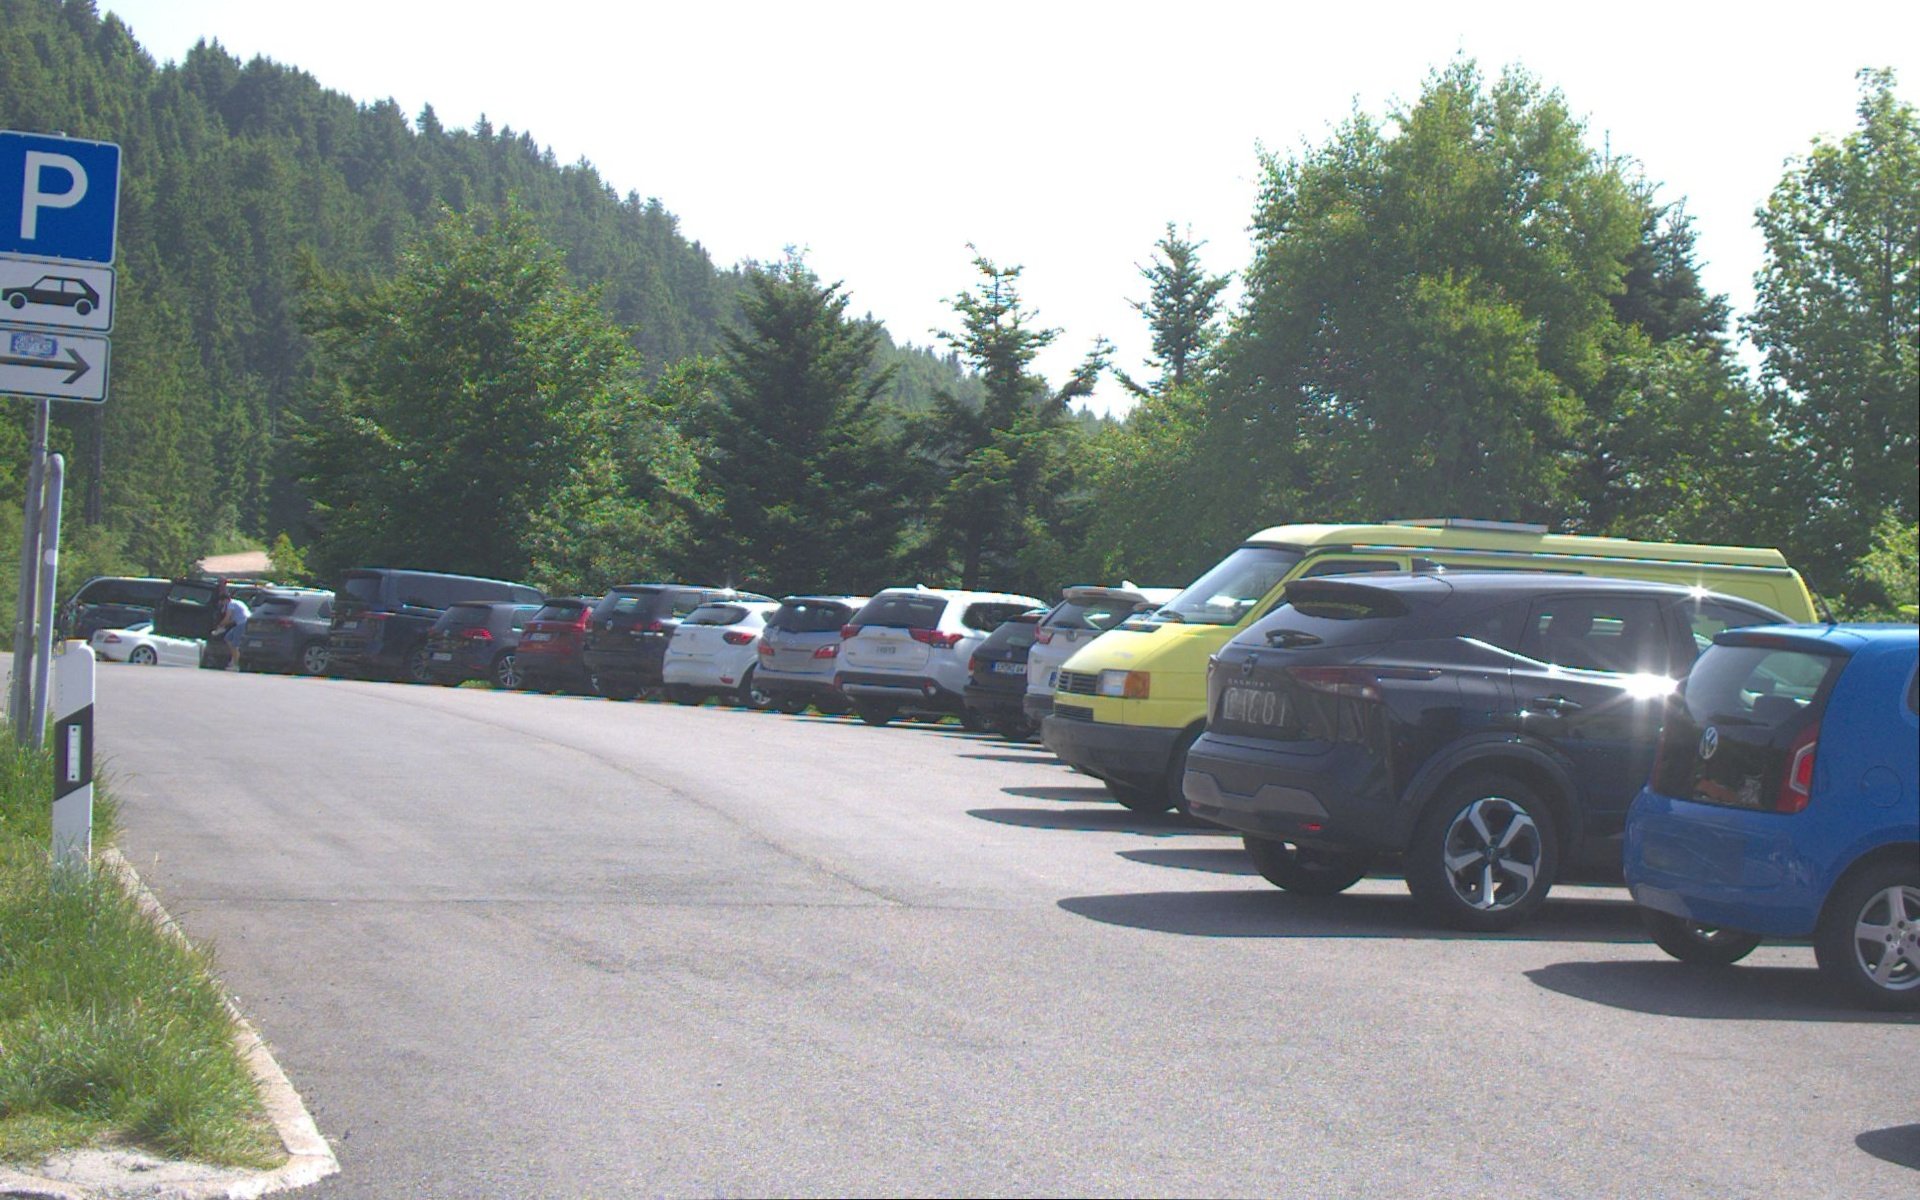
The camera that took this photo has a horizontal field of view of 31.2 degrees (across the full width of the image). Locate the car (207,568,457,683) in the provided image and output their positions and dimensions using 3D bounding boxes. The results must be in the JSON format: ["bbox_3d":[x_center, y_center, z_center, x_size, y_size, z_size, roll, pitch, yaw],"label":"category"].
[{"bbox_3d":[-11.629,0.486,63.823,3.988,1.656,1.999,9,-5,-44],"label":"car"}]

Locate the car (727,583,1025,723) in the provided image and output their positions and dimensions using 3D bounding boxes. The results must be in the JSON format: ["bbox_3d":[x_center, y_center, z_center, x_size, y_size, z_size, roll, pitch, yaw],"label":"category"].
[{"bbox_3d":[-1.064,0.719,45.436,1.818,1.544,3.991,3,-2,35],"label":"car"}]

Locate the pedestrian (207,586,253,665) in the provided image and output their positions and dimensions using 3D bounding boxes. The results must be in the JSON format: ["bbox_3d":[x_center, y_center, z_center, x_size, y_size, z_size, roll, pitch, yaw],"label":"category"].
[{"bbox_3d":[-13.177,0.457,62.031,0.773,1.398,0.669,1,1,-11],"label":"pedestrian"}]

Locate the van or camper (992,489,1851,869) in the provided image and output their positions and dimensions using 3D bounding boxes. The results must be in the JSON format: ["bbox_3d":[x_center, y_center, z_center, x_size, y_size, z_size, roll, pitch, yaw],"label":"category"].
[{"bbox_3d":[2.985,0.510,22.494,5.088,2.007,1.883,5,0,-14],"label":"van or camper"}]

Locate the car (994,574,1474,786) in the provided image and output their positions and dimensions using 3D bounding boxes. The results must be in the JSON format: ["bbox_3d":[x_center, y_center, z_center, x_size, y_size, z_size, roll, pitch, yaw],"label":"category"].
[{"bbox_3d":[2.602,0.764,32.166,4.172,1.644,1.891,5,-2,-37],"label":"car"}]

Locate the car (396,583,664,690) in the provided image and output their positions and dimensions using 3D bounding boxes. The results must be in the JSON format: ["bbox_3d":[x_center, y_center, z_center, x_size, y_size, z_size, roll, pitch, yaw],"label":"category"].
[{"bbox_3d":[-6.944,0.598,55.792,3.989,1.410,1.744,6,-2,-44],"label":"car"}]

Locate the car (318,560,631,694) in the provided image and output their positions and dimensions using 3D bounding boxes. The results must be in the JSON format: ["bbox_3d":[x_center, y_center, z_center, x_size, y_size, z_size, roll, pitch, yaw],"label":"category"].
[{"bbox_3d":[-8.205,0.462,58.265,4.758,1.873,1.966,5,-2,-36],"label":"car"}]

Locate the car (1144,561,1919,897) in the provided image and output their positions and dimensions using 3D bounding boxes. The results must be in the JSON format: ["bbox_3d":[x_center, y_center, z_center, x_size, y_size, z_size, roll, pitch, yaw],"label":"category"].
[{"bbox_3d":[3.300,0.703,19.081,4.149,1.583,1.705,3,0,-14],"label":"car"}]

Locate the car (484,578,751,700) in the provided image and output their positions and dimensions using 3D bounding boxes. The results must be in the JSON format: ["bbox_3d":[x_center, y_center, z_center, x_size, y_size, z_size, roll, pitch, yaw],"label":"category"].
[{"bbox_3d":[-5.279,0.628,53.466,1.861,1.584,3.991,3,-2,35],"label":"car"}]

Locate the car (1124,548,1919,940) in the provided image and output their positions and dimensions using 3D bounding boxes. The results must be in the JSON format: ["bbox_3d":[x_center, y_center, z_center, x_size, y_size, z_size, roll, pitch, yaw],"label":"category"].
[{"bbox_3d":[3.036,0.682,16.349,3.986,1.608,1.917,3,0,-22],"label":"car"}]

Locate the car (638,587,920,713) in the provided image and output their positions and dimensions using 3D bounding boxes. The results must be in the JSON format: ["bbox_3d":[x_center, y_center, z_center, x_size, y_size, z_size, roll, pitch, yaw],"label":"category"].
[{"bbox_3d":[-2.497,0.718,48.251,1.766,1.471,3.991,3,-2,35],"label":"car"}]

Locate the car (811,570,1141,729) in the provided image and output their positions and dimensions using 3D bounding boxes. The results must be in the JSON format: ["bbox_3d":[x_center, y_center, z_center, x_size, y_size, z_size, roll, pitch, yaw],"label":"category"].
[{"bbox_3d":[0.254,0.637,42.184,1.861,1.689,4.218,3,-1,35],"label":"car"}]

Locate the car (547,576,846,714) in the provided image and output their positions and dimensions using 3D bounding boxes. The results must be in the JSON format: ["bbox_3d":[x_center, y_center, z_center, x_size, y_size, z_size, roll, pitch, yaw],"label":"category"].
[{"bbox_3d":[-3.799,0.675,50.292,1.988,1.689,4.264,3,-2,35],"label":"car"}]

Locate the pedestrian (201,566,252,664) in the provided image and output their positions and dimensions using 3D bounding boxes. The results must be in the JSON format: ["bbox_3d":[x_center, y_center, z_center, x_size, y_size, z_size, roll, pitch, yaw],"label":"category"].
[{"bbox_3d":[-13.672,0.284,64.065,0.579,1.755,0.633,4,-2,10],"label":"pedestrian"}]

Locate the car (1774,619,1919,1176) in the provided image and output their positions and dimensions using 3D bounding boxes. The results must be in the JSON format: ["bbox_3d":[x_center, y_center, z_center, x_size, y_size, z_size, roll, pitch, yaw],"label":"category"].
[{"bbox_3d":[4.604,0.961,10.043,3.986,1.504,1.843,4,0,-26],"label":"car"}]

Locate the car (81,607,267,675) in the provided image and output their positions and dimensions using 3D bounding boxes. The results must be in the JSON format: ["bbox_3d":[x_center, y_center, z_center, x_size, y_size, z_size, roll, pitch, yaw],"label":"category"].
[{"bbox_3d":[-20.935,1.102,91.622,4.453,1.294,1.582,8,-3,-33],"label":"car"}]

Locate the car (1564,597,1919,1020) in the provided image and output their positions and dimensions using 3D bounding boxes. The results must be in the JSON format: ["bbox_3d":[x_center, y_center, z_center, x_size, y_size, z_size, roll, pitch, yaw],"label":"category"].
[{"bbox_3d":[4.507,0.889,13.975,3.579,1.490,1.648,4,0,-16],"label":"car"}]

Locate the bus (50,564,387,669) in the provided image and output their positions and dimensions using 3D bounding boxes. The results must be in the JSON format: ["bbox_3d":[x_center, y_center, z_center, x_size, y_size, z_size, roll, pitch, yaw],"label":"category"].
[{"bbox_3d":[-29.948,0.637,139.263,12.860,3.566,2.982,3,1,0],"label":"bus"}]

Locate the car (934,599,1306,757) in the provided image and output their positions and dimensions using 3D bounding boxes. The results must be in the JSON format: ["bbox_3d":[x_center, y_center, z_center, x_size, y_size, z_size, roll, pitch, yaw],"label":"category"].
[{"bbox_3d":[1.846,0.895,38.719,1.894,1.456,4.040,3,-2,44],"label":"car"}]

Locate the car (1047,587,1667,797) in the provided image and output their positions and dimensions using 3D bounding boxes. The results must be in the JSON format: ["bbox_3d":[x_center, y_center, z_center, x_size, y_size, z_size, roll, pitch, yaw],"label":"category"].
[{"bbox_3d":[3.041,0.693,26.414,4.349,1.482,1.813,1,1,-20],"label":"car"}]

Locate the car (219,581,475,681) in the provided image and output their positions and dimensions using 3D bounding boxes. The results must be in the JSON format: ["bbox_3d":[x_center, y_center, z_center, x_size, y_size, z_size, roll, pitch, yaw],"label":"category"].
[{"bbox_3d":[-10.882,0.556,61.117,3.987,1.438,1.839,5,-2,-38],"label":"car"}]
